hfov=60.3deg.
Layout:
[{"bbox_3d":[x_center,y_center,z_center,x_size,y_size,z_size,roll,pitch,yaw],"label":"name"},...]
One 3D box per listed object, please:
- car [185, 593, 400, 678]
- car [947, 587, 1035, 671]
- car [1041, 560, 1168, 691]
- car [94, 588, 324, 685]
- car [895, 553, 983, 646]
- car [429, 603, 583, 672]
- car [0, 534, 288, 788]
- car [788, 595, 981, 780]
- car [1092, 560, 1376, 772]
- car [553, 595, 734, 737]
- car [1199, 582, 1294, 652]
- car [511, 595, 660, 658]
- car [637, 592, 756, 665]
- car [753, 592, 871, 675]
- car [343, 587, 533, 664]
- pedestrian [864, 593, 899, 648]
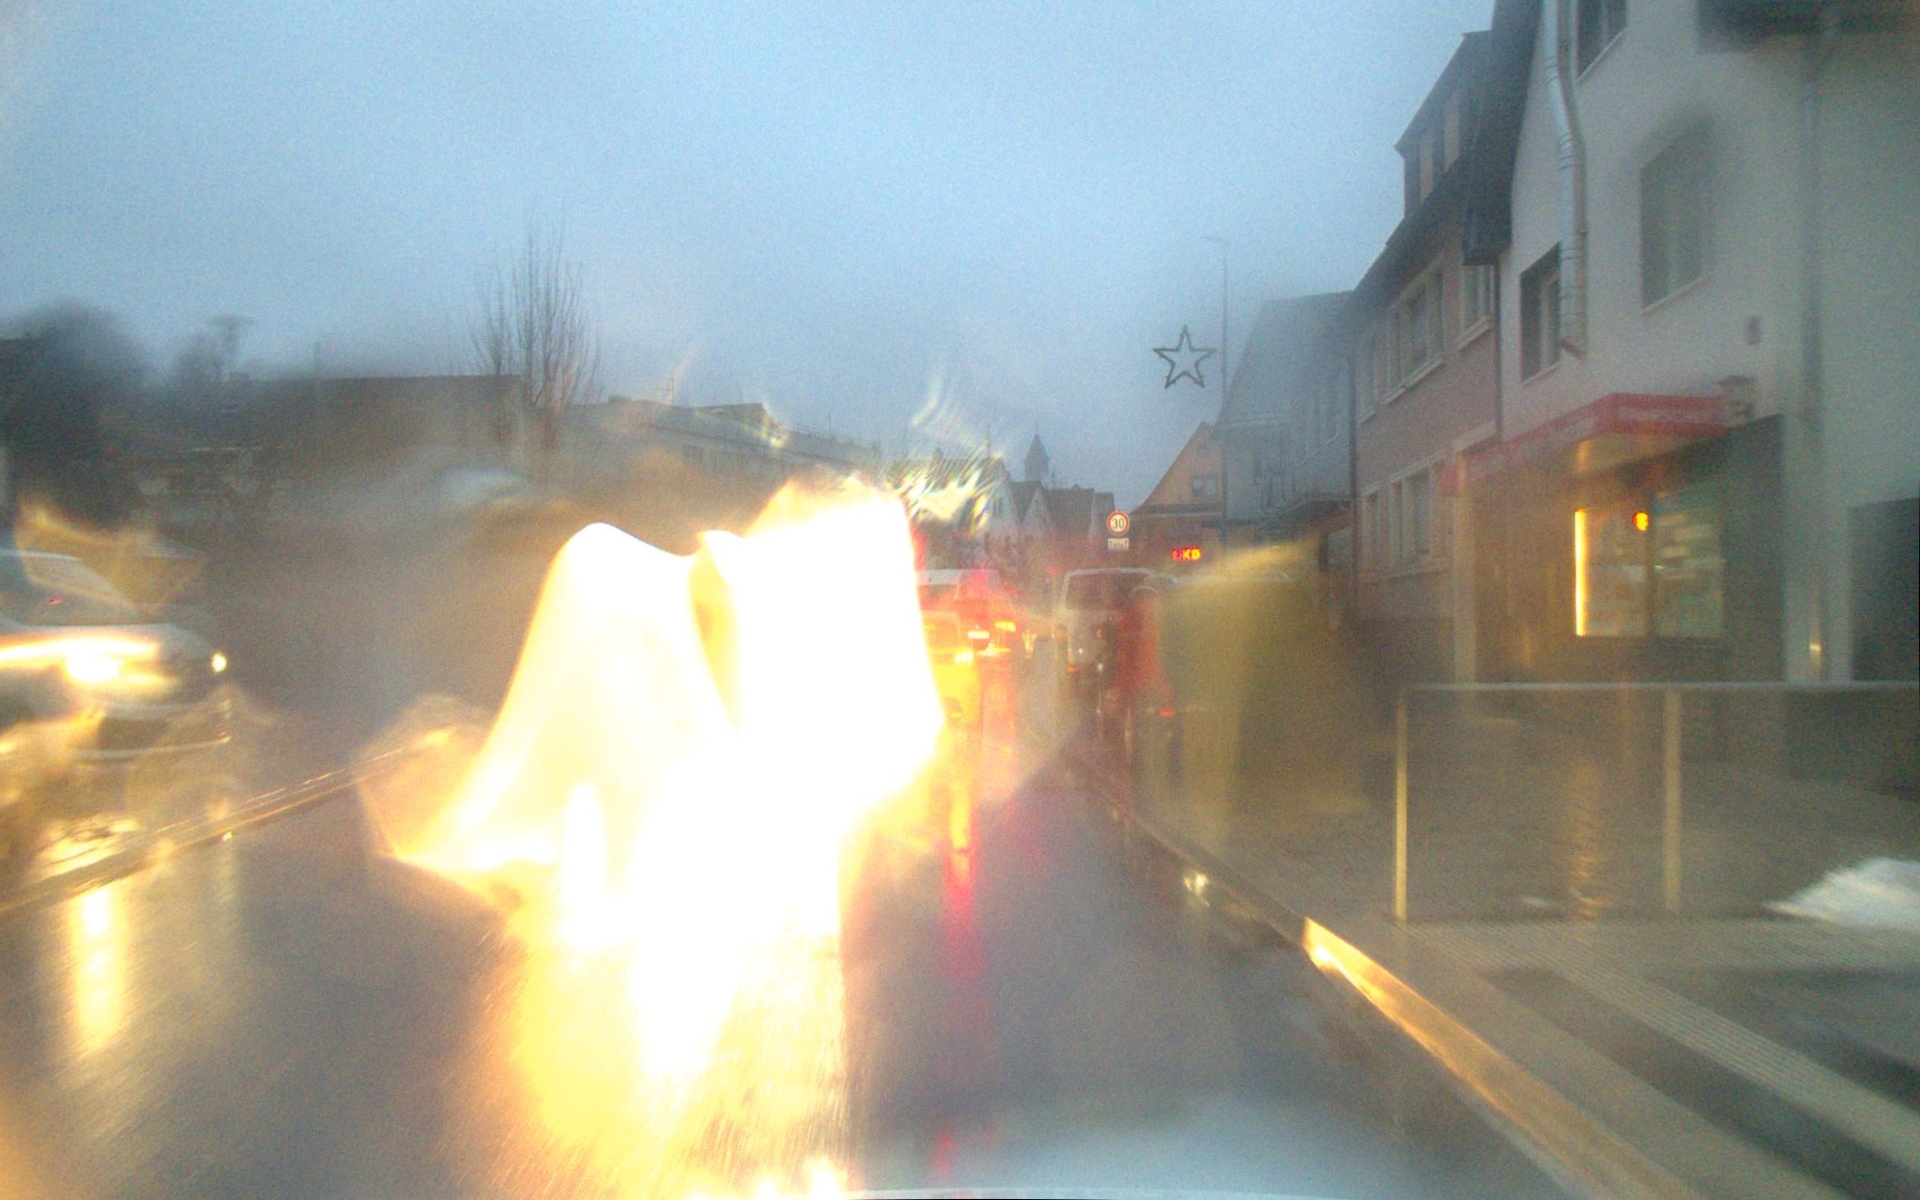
[{"bbox_3d":[-12.395,0.647,30.639,3.989,1.485,1.753,-1,0,33],"label":"car"},{"bbox_3d":[0.628,0.579,35.306,1.761,1.691,4.000,0,0,0],"label":"car"},{"bbox_3d":[2.374,0.376,28.218,1.932,1.994,4.854,-1,1,3],"label":"car"},{"bbox_3d":[-12.630,0.611,27.754,3.852,1.484,1.757,-2,1,34],"label":"car"},{"bbox_3d":[-0.550,-0.041,49.219,2.149,2.534,6.145,-1,0,3],"label":"car"},{"bbox_3d":[-11.508,0.964,41.833,4.034,1.610,1.713,-2,-1,39],"label":"car"},{"bbox_3d":[-9.016,0.444,14.517,5.637,1.980,1.993,0,1,13],"label":"car"},{"bbox_3d":[-0.827,0.893,19.407,1.953,1.827,4.647,-1,1,-1],"label":"car"},{"bbox_3d":[2.441,0.520,15.870,1.934,1.690,4.460,-1,1,0],"label":"car"},{"bbox_3d":[-3.859,0.744,20.726,1.587,1.506,3.837,-2,1,-2],"label":"car"},{"bbox_3d":[7.012,0.394,40.726,1.698,1.588,3.664,-2,0,1],"label":"car"},{"bbox_3d":[-9.950,0.665,43.836,3.930,1.557,1.988,0,1,43],"label":"car"},{"bbox_3d":[-6.042,0.623,38.376,1.865,1.560,4.258,-1,1,3],"label":"car"},{"bbox_3d":[-3.044,0.654,34.828,1.787,1.545,4.550,-2,1,3],"label":"car"},{"bbox_3d":[-12.089,0.599,38.182,4.566,1.683,1.979,-2,-1,38],"label":"car"},{"bbox_3d":[-2.722,0.713,57.455,0.739,1.899,1.059,-1,0,30],"label":"pedestrian"}]
